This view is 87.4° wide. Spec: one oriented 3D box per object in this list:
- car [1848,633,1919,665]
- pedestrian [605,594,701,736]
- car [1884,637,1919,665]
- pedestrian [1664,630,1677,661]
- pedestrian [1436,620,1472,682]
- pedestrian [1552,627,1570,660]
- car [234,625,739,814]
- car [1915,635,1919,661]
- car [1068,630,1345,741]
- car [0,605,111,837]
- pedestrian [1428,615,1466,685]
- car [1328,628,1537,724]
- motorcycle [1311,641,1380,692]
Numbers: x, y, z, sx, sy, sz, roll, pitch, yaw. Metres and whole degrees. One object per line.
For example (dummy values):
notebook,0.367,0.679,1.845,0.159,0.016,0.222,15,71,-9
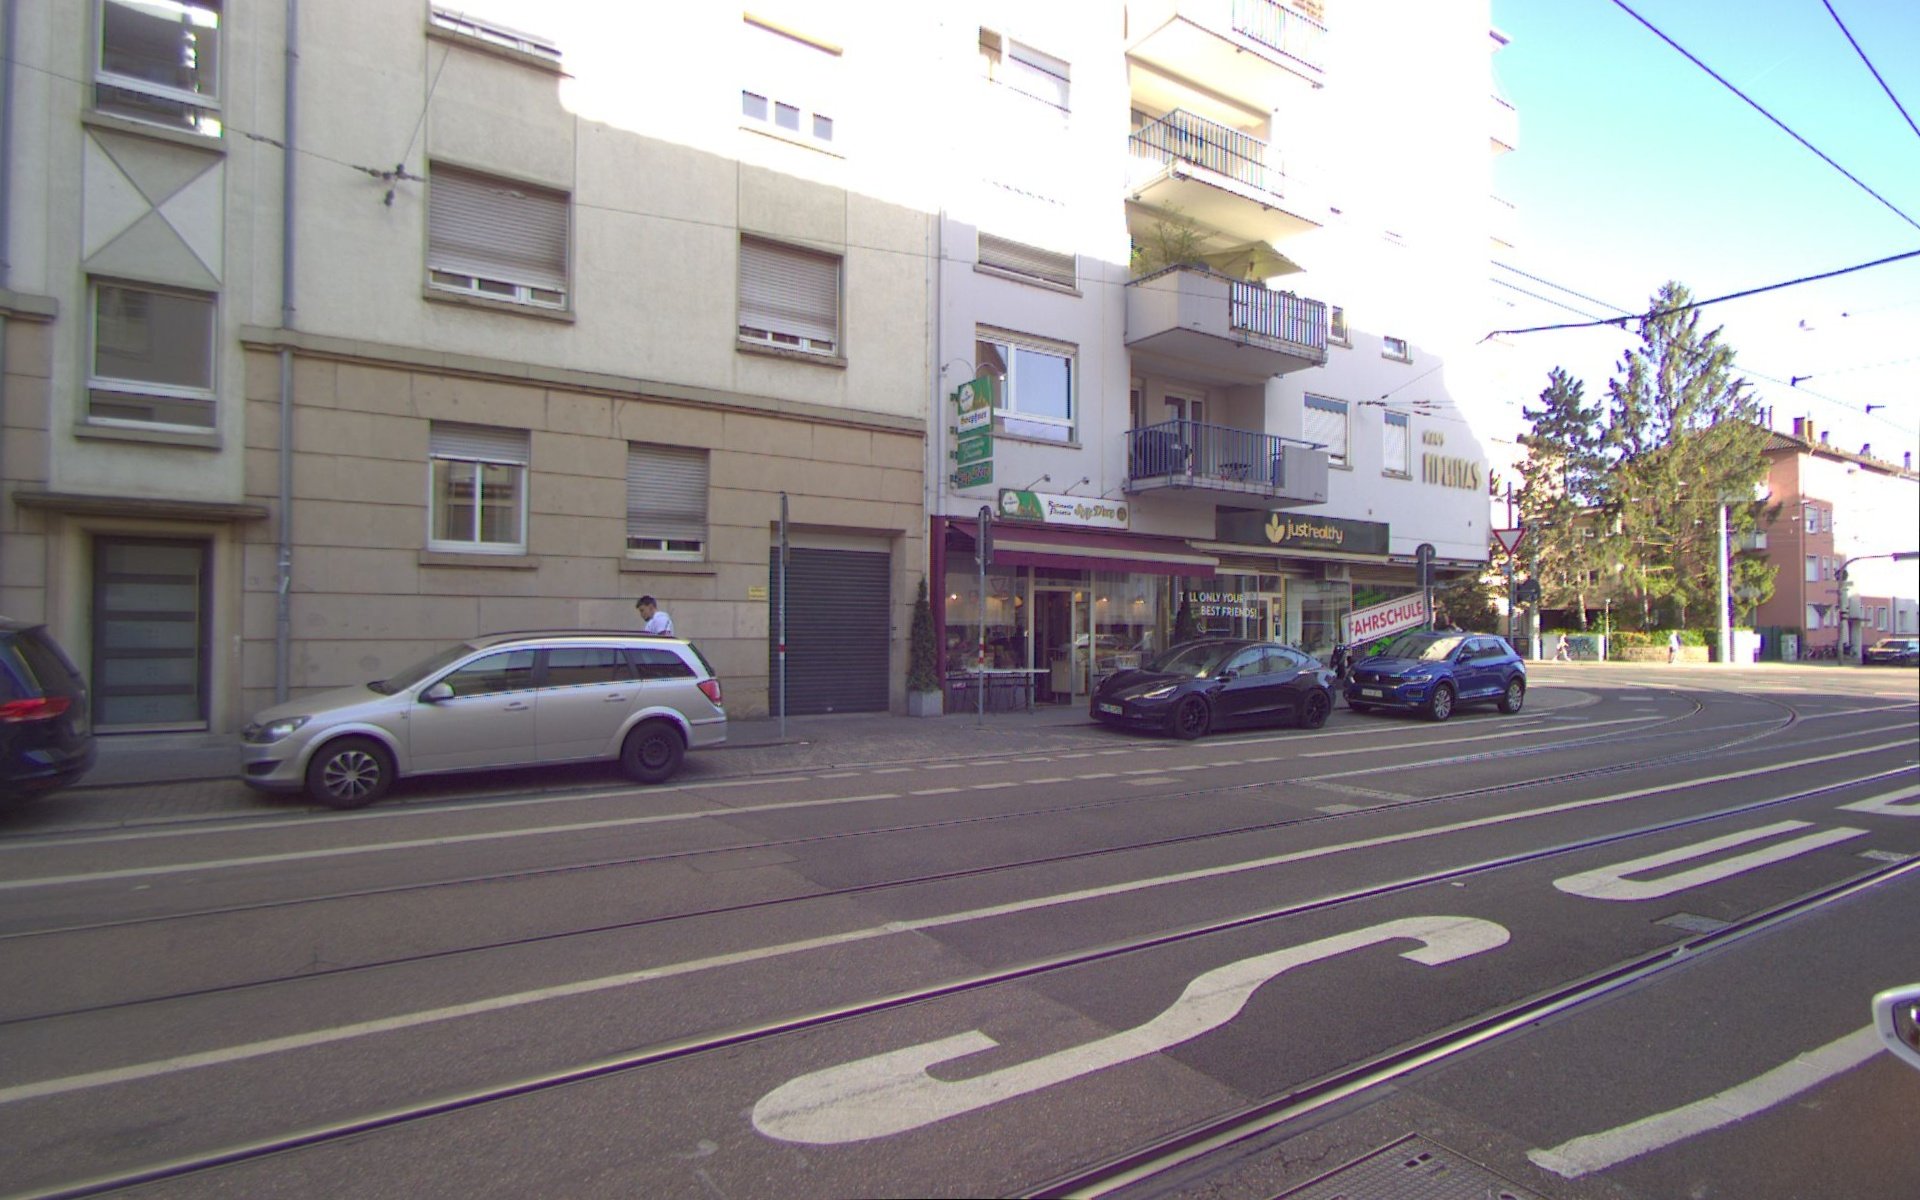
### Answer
car,49.735,2.643,53.890,4.397,1.450,2.140,4,-1,-35
pedestrian,-4.045,0.833,13.255,0.998,1.791,0.656,2,0,-40
car,54.266,2.892,56.869,4.057,1.456,1.893,2,0,-32
pedestrian,36.777,2.349,52.005,0.509,1.589,0.572,2,0,33
pedestrian,14.786,1.522,30.081,0.653,1.816,0.733,1,-1,-27
pedestrian,33.285,2.397,55.635,0.772,1.744,0.702,2,0,37
car,-4.631,1.057,10.184,4.327,1.474,1.714,2,1,-35
car,58.286,2.870,59.382,4.185,1.546,1.731,2,0,-34
car,4.007,1.285,16.061,4.398,1.494,1.759,2,0,-33
car,-9.013,0.856,7.184,4.282,1.655,1.802,2,1,-35
pedestrian,13.797,1.413,28.483,0.727,1.925,0.573,3,-2,-15
car,9.021,1.344,19.075,4.196,1.524,1.757,0,1,-36
motorcycle,9.200,1.568,23.961,1.778,1.149,0.603,2,0,-34
